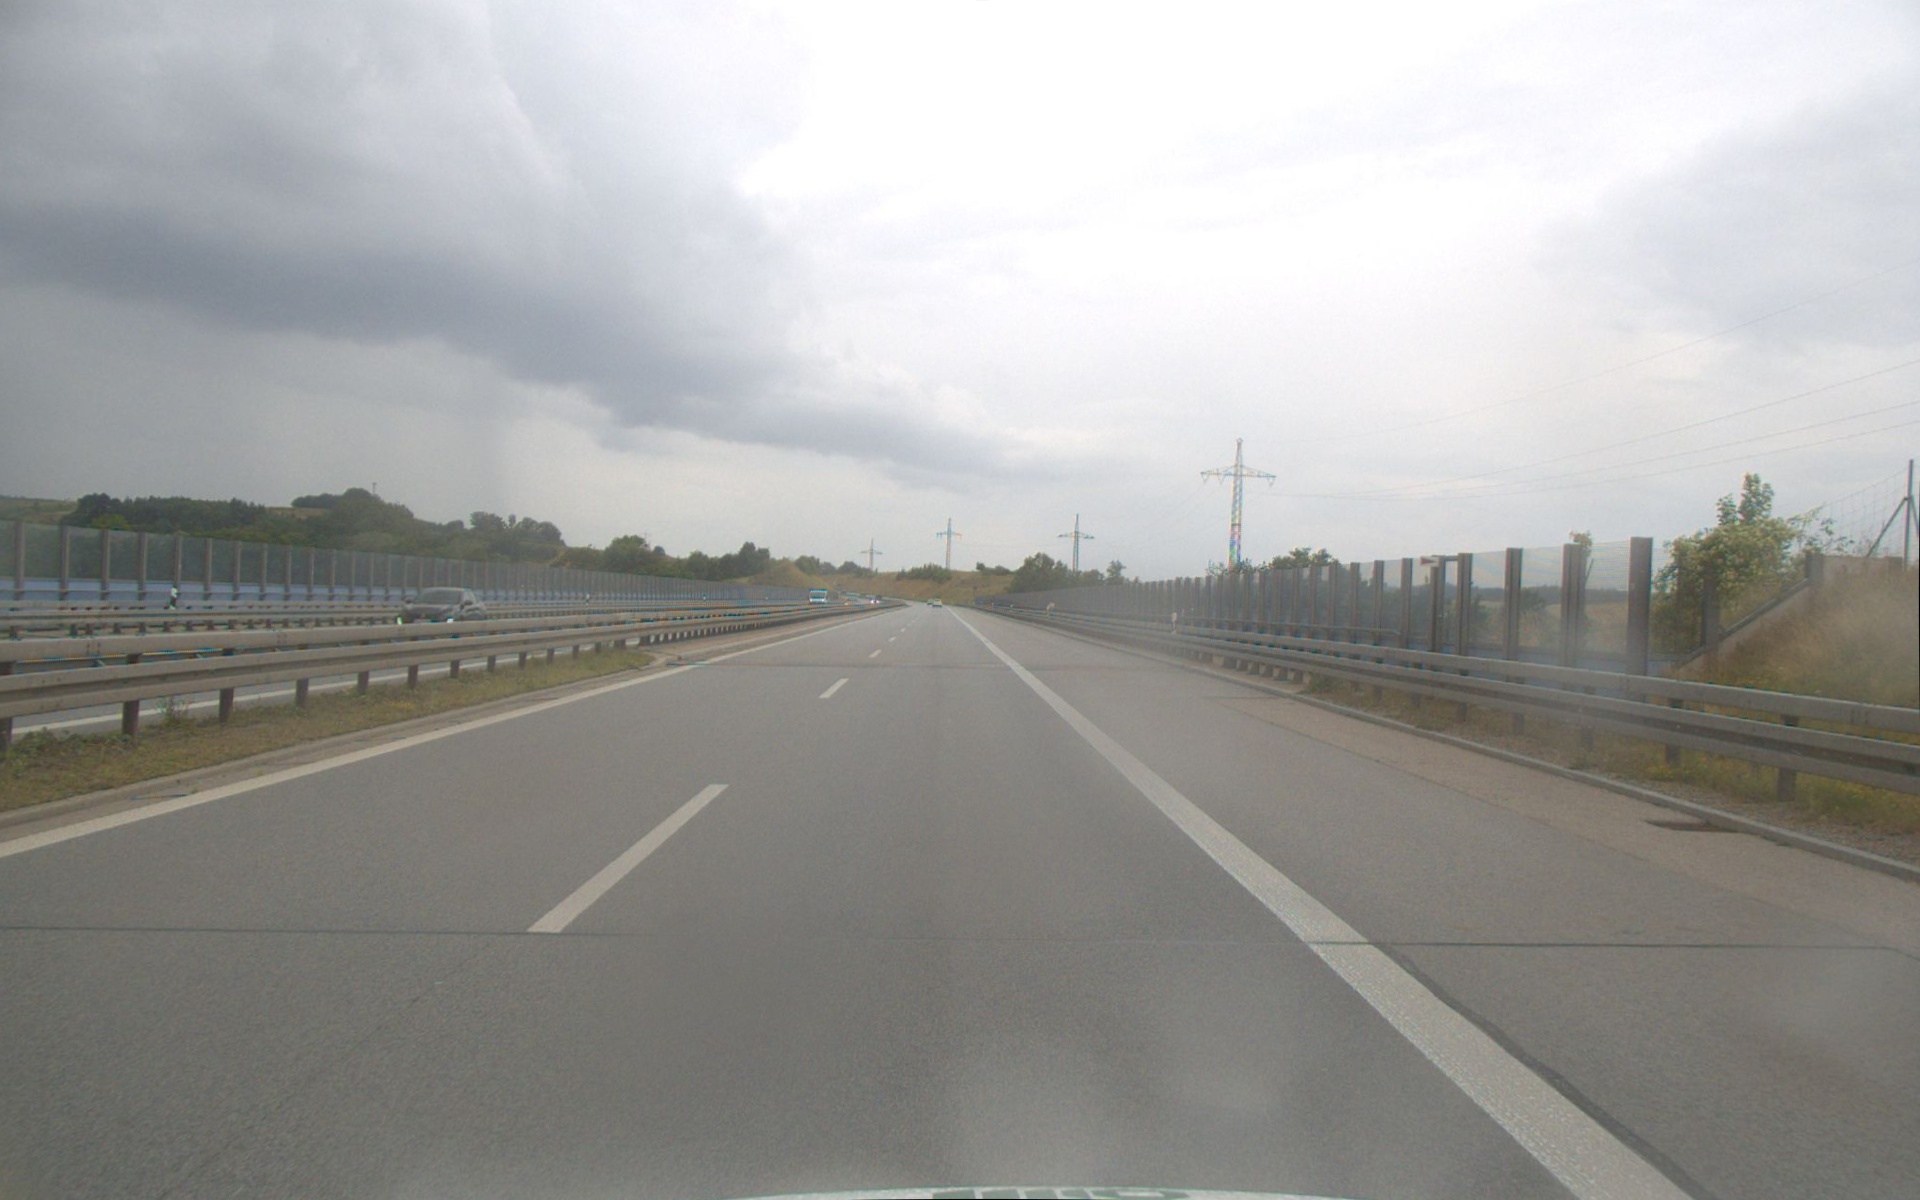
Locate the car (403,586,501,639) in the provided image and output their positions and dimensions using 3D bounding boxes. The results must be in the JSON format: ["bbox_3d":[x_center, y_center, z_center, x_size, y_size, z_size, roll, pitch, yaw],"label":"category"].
[{"bbox_3d":[-14.608,0.341,47.751,1.597,1.434,3.999,1,0,-1],"label":"car"}]

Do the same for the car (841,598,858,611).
[{"bbox_3d":[-12.960,0.502,194.046,1.718,1.517,3.999,1,0,-1],"label":"car"}]
